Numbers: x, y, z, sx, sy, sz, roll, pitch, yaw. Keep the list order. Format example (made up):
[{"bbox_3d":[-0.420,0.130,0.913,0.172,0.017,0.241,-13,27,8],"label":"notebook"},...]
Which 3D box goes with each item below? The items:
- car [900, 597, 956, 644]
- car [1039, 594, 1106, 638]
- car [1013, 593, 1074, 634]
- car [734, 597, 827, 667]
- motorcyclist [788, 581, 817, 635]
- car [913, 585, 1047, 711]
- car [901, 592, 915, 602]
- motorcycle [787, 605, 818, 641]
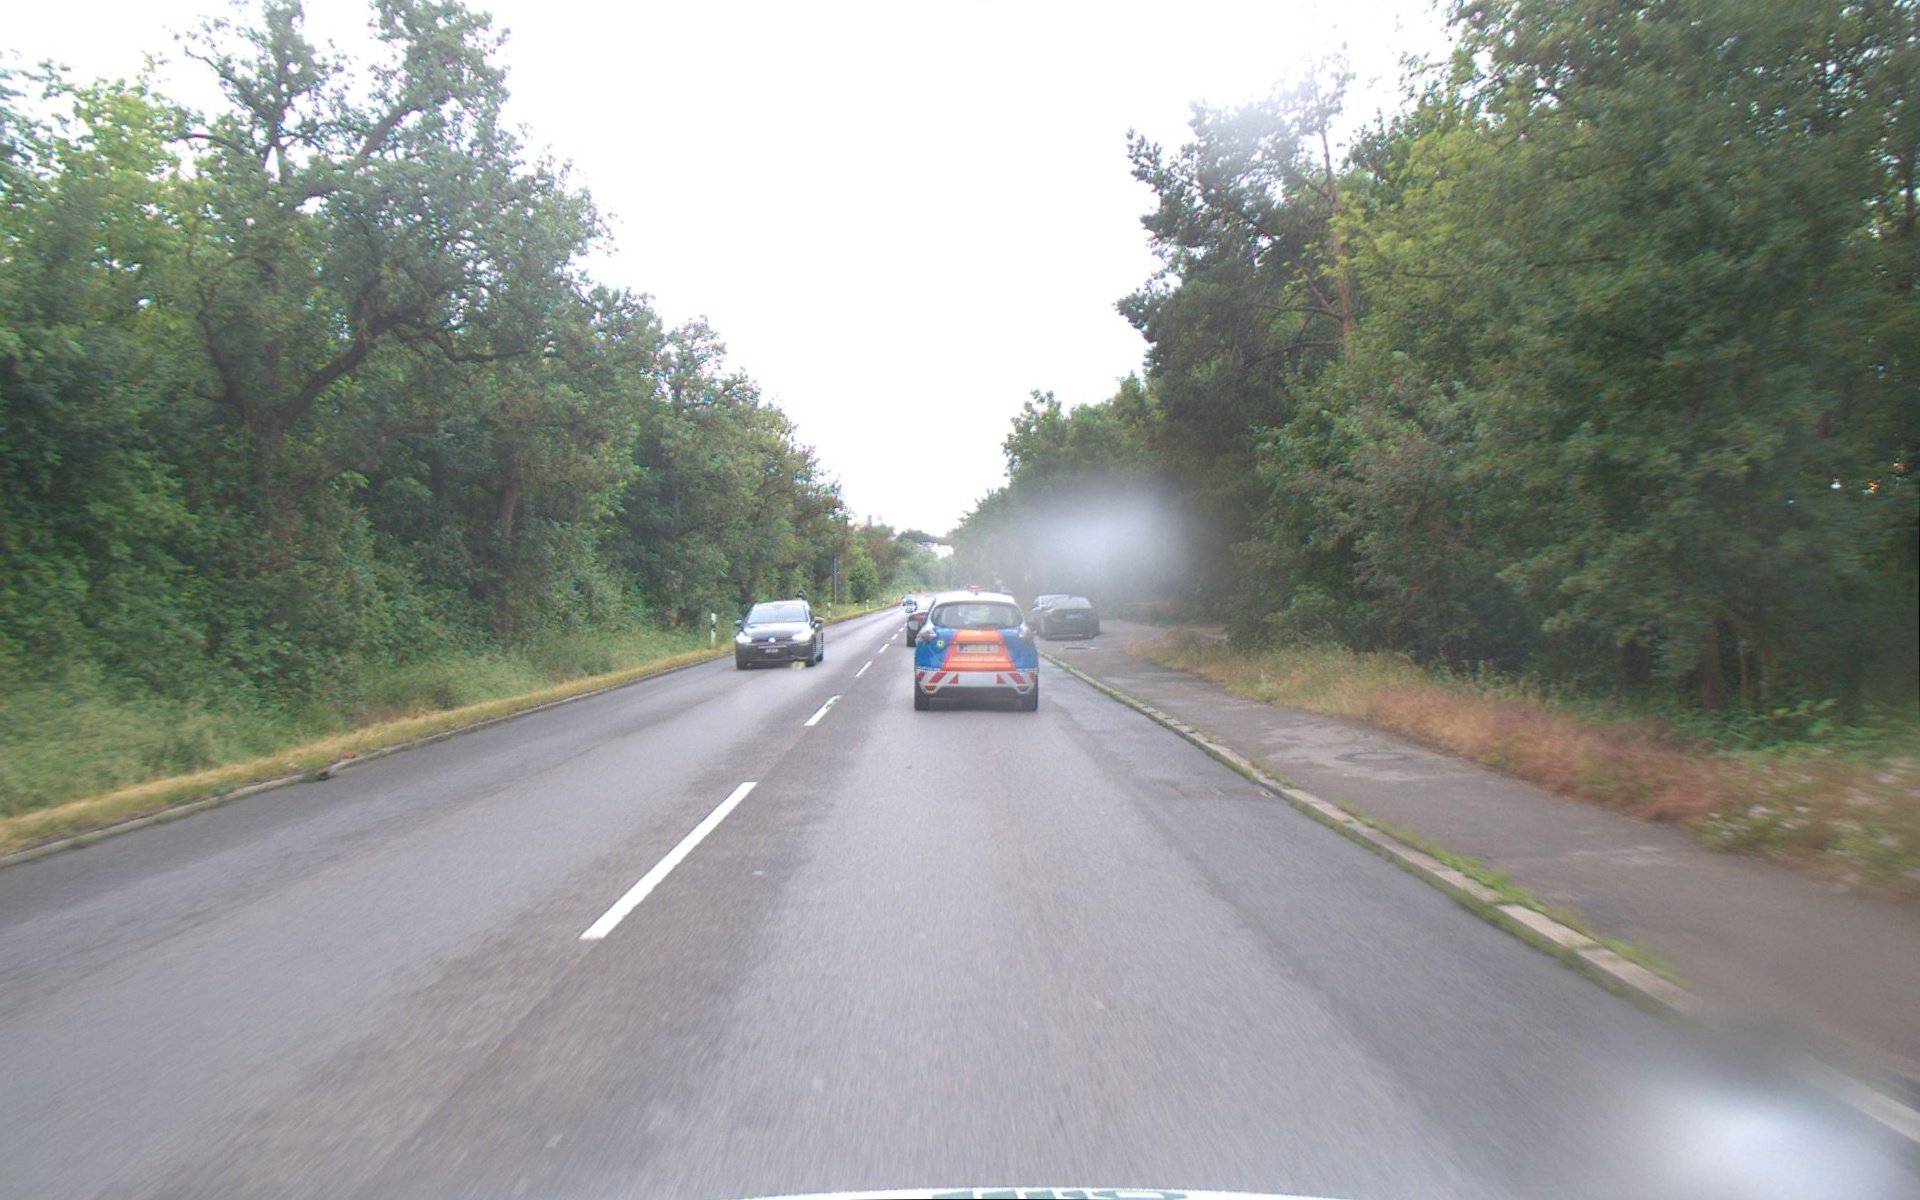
[{"bbox_3d":[-0.910,0.590,48.929,1.566,1.309,3.476,-1,0,0],"label":"car"},{"bbox_3d":[3.722,0.508,55.249,1.953,1.400,4.000,-1,0,0],"label":"car"},{"bbox_3d":[3.057,0.483,61.328,1.953,1.466,4.066,0,0,-2],"label":"car"},{"bbox_3d":[-3.994,0.677,37.325,1.676,1.423,4.149,-2,0,-1],"label":"car"},{"bbox_3d":[-5.160,0.266,54.282,0.851,1.753,1.035,0,0,-2],"label":"motorcyclist"},{"bbox_3d":[0.238,0.606,23.392,1.716,1.582,3.792,1,1,-1],"label":"car"},{"bbox_3d":[-6.986,-0.410,220.991,1.846,1.411,3.998,0,0,-2],"label":"car"},{"bbox_3d":[-5.154,0.741,54.136,0.851,1.145,2.394,0,0,-2],"label":"motorcycle"}]
